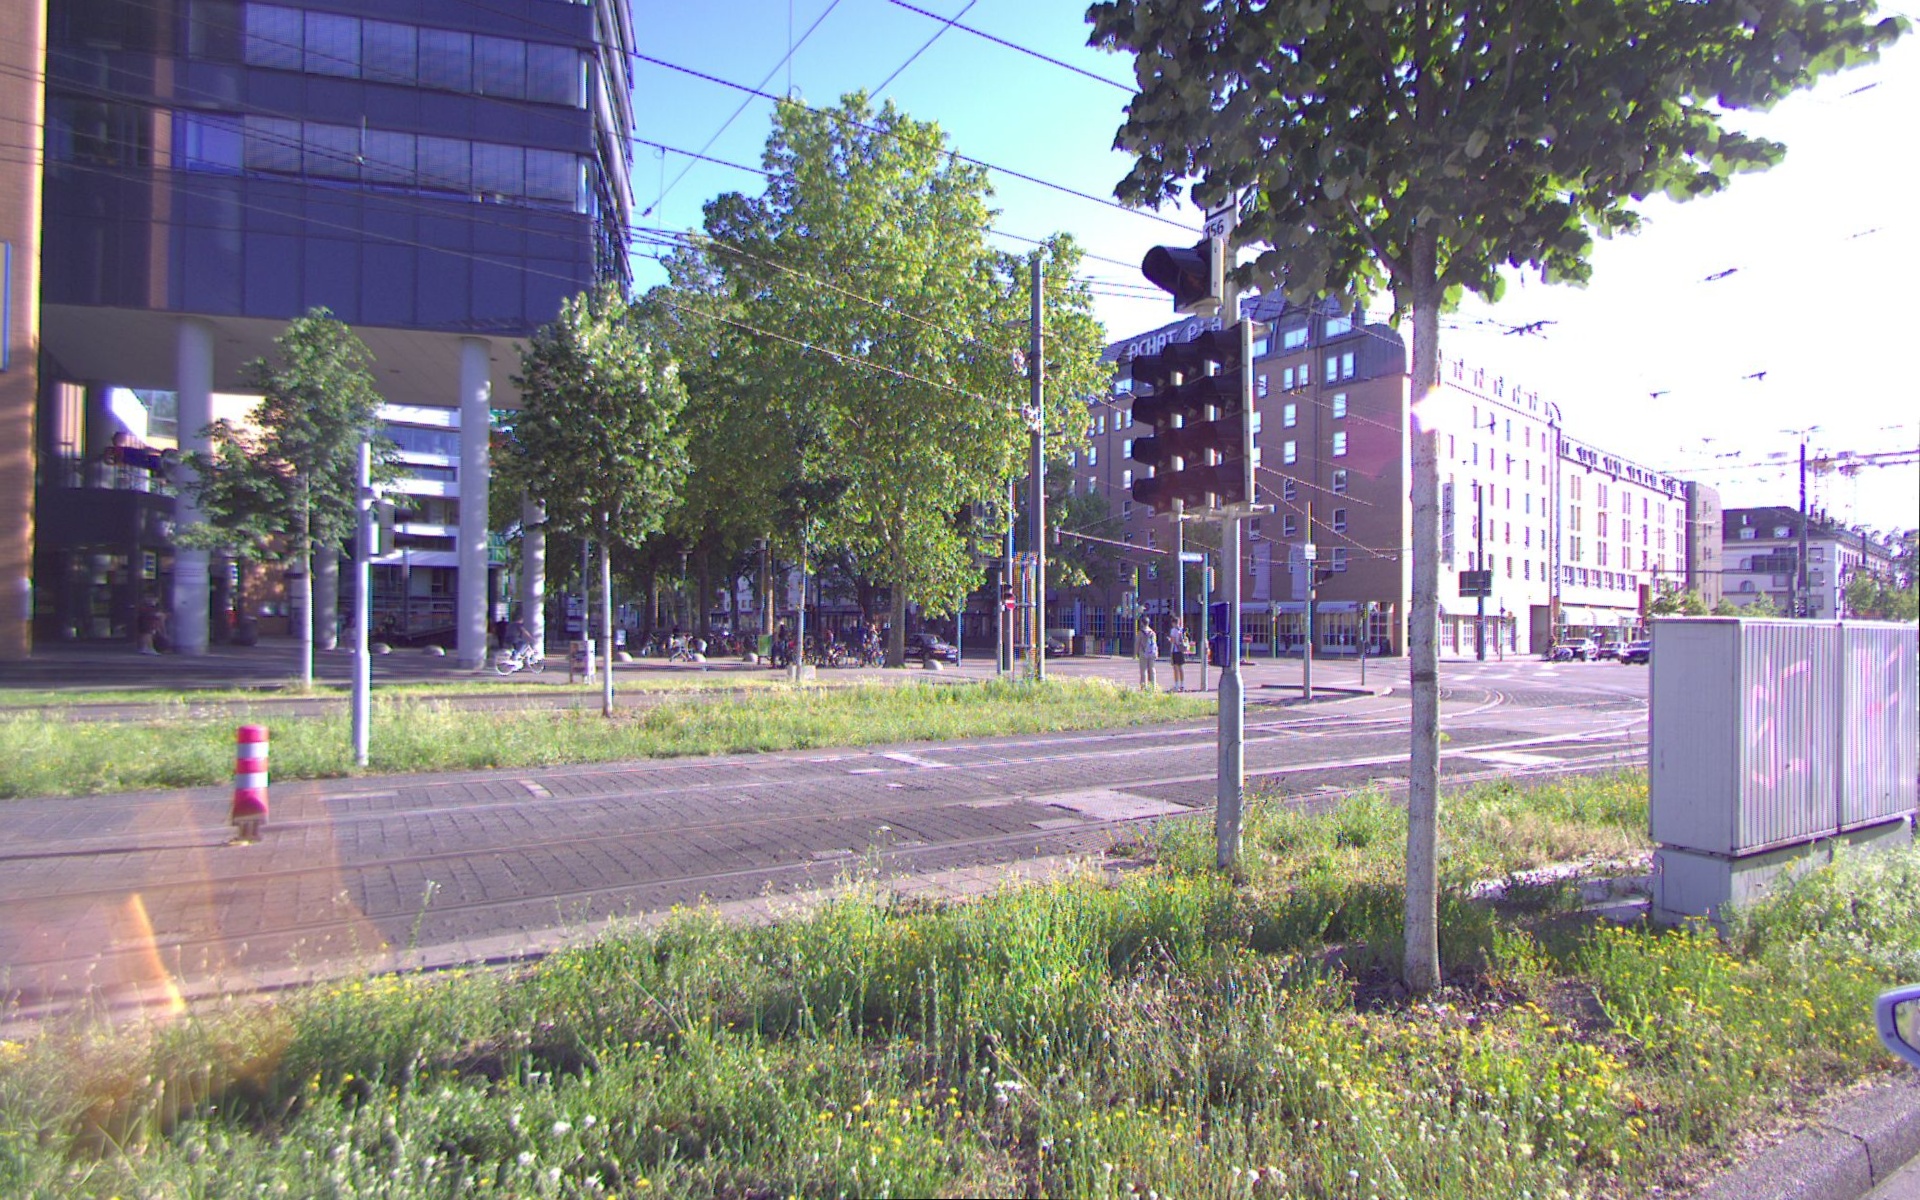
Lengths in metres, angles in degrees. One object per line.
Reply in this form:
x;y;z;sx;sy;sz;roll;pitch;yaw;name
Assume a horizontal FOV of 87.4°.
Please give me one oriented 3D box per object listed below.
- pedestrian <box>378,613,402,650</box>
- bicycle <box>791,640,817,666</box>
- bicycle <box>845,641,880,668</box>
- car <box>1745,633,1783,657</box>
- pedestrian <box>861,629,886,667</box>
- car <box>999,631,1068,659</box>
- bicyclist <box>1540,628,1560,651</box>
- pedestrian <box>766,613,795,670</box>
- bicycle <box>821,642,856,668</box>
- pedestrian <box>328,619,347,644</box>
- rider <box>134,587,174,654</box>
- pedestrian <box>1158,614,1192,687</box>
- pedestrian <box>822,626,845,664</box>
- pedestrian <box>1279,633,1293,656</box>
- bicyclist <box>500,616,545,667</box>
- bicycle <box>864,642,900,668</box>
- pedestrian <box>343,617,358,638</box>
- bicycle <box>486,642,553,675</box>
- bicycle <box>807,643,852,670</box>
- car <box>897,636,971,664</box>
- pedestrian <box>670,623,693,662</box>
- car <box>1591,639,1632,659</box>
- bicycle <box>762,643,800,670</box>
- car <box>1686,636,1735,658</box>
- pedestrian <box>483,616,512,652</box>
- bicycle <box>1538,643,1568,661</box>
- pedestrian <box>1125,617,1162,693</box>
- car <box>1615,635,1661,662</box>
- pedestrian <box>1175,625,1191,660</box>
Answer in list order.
-27.925;1.534;49.183;0.794;1.730;0.789;1;0;-13;pedestrian
-6.049;2.048;39.042;0.530;0.964;1.772;1;-1;6;bicycle
-3.779;2.099;38.771;0.536;0.964;1.753;1;-2;-36;bicycle
54.048;3.019;67.510;1.726;1.524;3.859;-1;-2;42;car
-3.800;2.114;44.055;0.832;1.619;0.692;1;0;-34;pedestrian
4.043;2.483;55.756;1.743;1.439;3.960;1;-2;-36;car
37.030;2.490;63.049;0.942;1.393;0.752;1;-1;-38;bicyclist
-6.523;1.510;36.445;0.826;2.040;0.730;1;0;-26;pedestrian
-4.690;2.101;38.615;0.536;0.964;1.753;1;-2;-36;bicycle
-38.395;1.946;61.936;0.647;1.500;1.053;1;0;-13;pedestrian
-22.301;0.575;27.795;0.704;1.826;0.715;1;-1;-29;rider
5.502;1.291;25.763;0.656;1.841;0.559;1;-1;-36;pedestrian
-5.638;2.004;44.754;0.826;1.619;0.730;1;0;-26;pedestrian
21.851;2.987;67.313;0.652;1.523;0.672;1;-1;-33;pedestrian
-12.995;1.236;29.858;0.668;1.484;1.015;0;-1;29;bicyclist
-3.044;2.119;39.039;0.536;0.964;1.753;1;-2;-36;bicycle
-38.582;1.759;63.602;0.651;1.294;0.636;1;0;-13;pedestrian
-13.044;1.727;29.780;0.491;0.922;1.885;0;-2;29;bicycle
-4.892;2.089;37.479;1.741;0.964;0.540;0;-1;34;bicycle
-1.329;2.454;49.873;1.977;1.283;3.967;1;-2;-31;car
-11.991;1.817;43.199;0.826;1.667;0.730;1;-1;-26;pedestrian
51.576;3.877;79.437;3.972;1.530;1.867;2;-2;-44;car
-6.756;2.127;37.857;0.538;0.964;1.748;2;-2;-44;bicycle
51.798;3.221;69.310;3.960;1.468;1.562;2;-2;-35;car
-22.609;1.643;49.105;1.091;1.730;0.789;1;0;-13;pedestrian
37.443;3.284;63.375;2.901;1.099;0.645;2;-2;-39;bicycle
4.587;1.363;25.126;0.656;1.854;0.627;1;-1;-36;pedestrian
40.078;2.850;59.357;1.726;1.524;3.859;-1;-2;42;car
12.804;2.440;57.695;0.670;2.040;0.663;1;-1;-29;pedestrian
